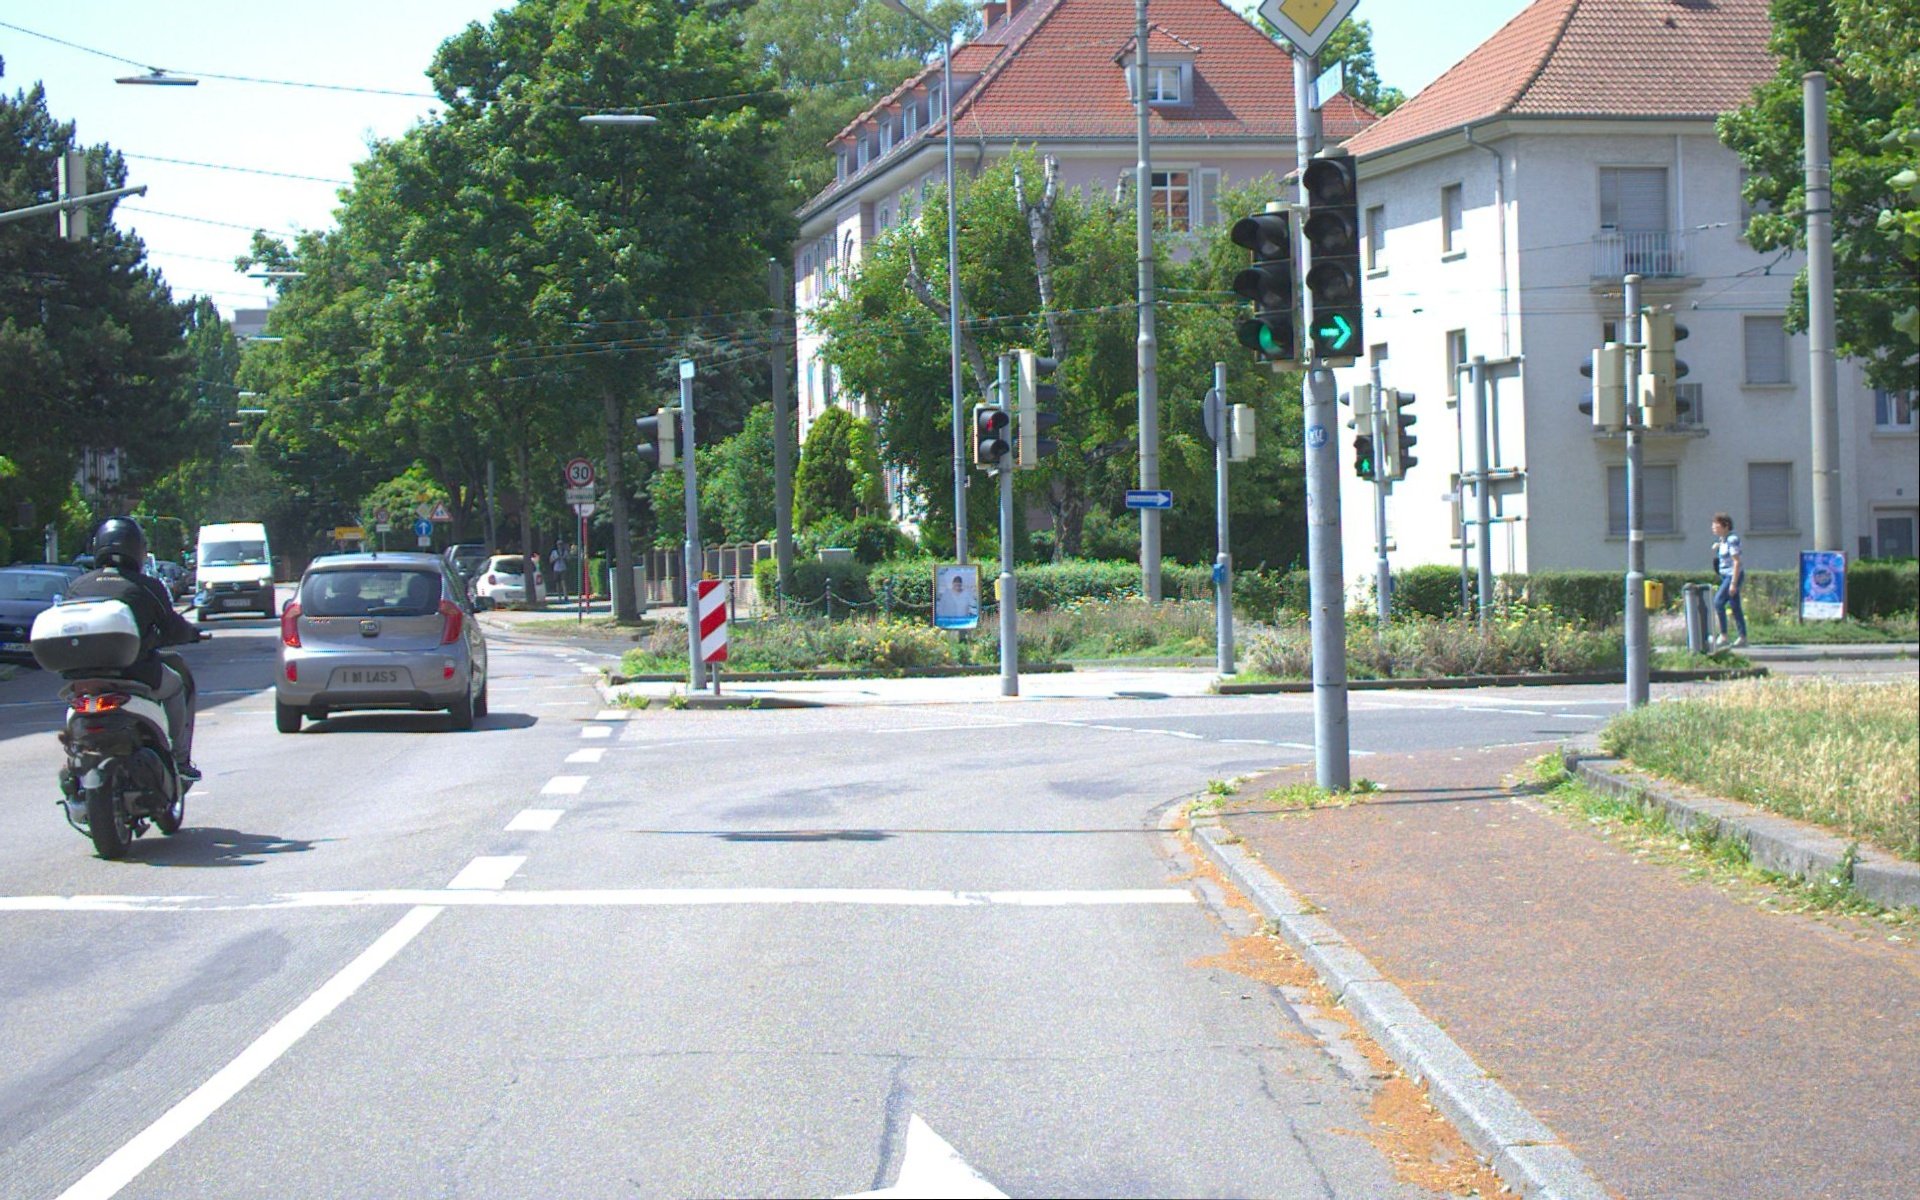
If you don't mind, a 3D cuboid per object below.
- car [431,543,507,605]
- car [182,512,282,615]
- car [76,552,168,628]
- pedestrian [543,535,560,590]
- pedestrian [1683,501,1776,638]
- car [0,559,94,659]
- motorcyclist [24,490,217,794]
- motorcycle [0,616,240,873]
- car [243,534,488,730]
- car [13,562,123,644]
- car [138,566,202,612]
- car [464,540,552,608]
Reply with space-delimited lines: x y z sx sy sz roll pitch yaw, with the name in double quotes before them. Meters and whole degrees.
"car" -15.328 -0.824 107.247 1.993 1.900 4.001 0 1 -13
"car" -19.486 -0.960 92.327 2.215 2.492 7.556 -4 1 -10
"car" -20.230 -0.259 83.128 1.798 1.712 4.038 2 0 -9
"pedestrian" -12.438 -1.139 104.595 0.508 1.650 0.466 0 1 -8
"pedestrian" 9.731 -0.388 43.465 0.835 1.699 0.762 -1 1 -28
"car" -14.557 0.144 53.685 1.993 1.514 4.001 0 0 -14
"motorcyclist" -4.106 0.190 16.875 0.711 1.440 1.019 -1 1 -2
"motorcycle" -4.096 0.669 16.898 0.711 1.130 2.197 -1 1 -2
"car" -5.069 0.231 29.729 1.798 1.552 4.038 -1 1 -6
"car" -17.334 0.046 66.938 1.993 1.505 4.001 -1 1 -14
"car" -28.331 -0.391 123.344 1.798 1.552 4.038 2 0 -7
"car" -12.390 -0.725 94.085 1.993 1.801 4.001 0 1 -13
